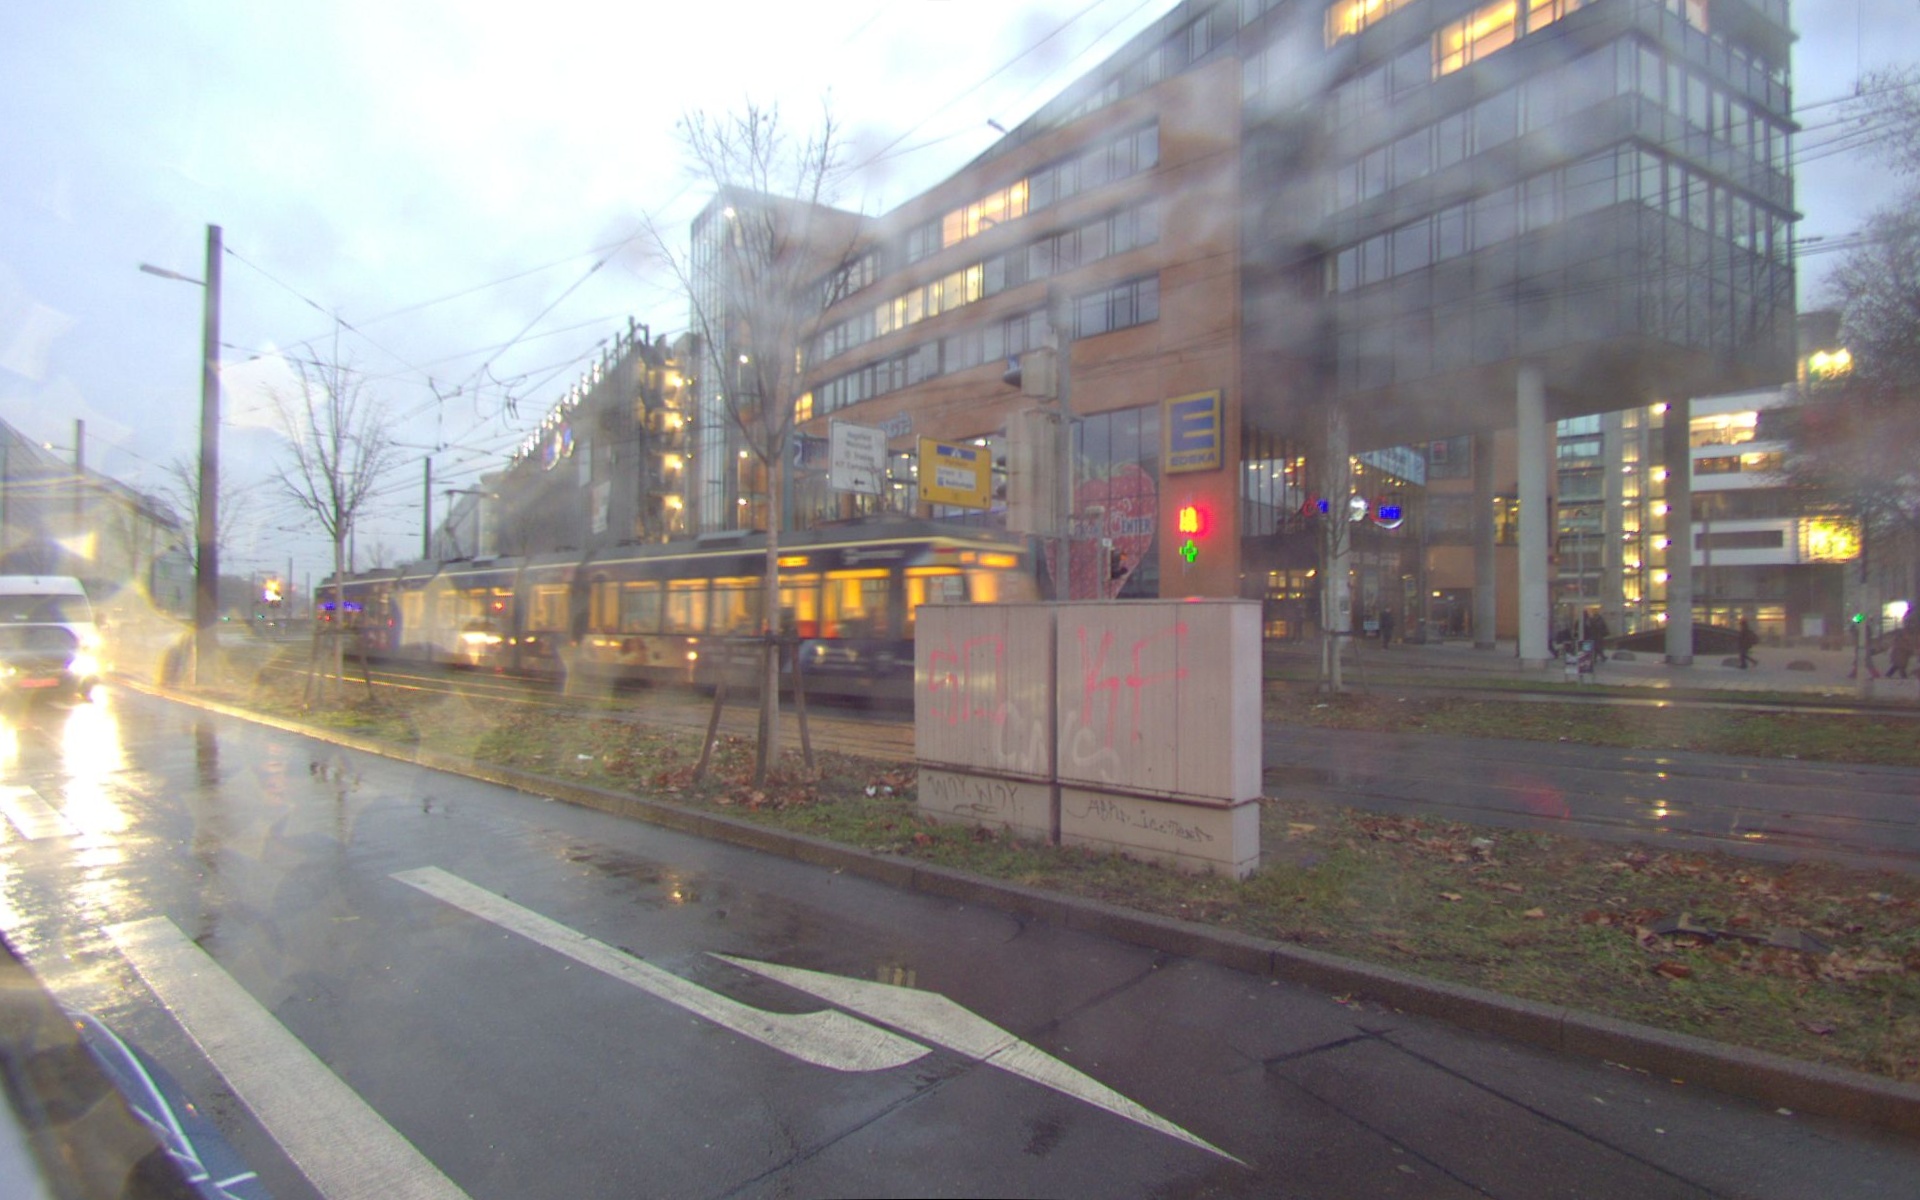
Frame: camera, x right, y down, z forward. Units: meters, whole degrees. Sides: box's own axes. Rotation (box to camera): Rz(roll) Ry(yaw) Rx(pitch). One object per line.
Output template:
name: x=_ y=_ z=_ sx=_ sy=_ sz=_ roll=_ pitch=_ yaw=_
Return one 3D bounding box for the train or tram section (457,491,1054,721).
train or tram section: x=-6.341 y=0.276 z=23.536 sx=19.210 sy=3.642 sz=2.833 roll=-1 pitch=-2 yaw=42

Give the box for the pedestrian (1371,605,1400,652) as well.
pedestrian: x=16.266 y=1.097 z=38.689 sx=0.782 sy=1.766 sz=0.704 roll=0 pitch=-2 yaw=-1

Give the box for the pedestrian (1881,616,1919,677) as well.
pedestrian: x=28.424 y=1.395 z=30.553 sx=0.859 sy=1.818 sz=0.790 roll=1 pitch=-2 yaw=-42

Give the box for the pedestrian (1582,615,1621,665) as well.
pedestrian: x=22.584 y=1.410 z=35.622 sx=0.994 sy=1.725 sz=0.787 roll=1 pitch=-2 yaw=-34

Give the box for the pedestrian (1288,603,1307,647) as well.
pedestrian: x=13.449 y=0.994 z=40.328 sx=0.658 sy=1.766 sz=0.534 roll=0 pitch=-2 yaw=12

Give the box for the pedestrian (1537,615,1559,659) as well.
pedestrian: x=21.946 y=1.372 z=37.770 sx=0.674 sy=1.620 sz=0.449 roll=-1 pitch=-2 yaw=33

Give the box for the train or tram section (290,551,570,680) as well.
train or tram section: x=-19.967 y=0.631 z=36.534 sx=20.077 sy=3.642 sz=2.832 roll=-1 pitch=-2 yaw=44

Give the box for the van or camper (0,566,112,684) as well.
van or camper: x=-22.643 y=0.605 z=24.604 sx=5.894 sy=2.551 sz=2.126 roll=-1 pitch=-2 yaw=40

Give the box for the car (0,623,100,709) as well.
car: x=-17.714 y=1.183 z=19.170 sx=4.057 sy=1.355 sz=1.735 roll=1 pitch=0 yaw=44

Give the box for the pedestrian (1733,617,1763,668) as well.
pedestrian: x=27.036 y=1.457 z=34.738 sx=0.784 sy=1.725 sz=0.647 roll=-1 pitch=-2 yaw=39

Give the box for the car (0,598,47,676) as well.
car: x=-37.690 y=1.434 z=39.603 sx=5.809 sy=2.885 sz=2.102 roll=-1 pitch=-2 yaw=40

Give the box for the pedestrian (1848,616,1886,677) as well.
pedestrian: x=27.072 y=1.365 z=30.213 sx=0.821 sy=1.787 sz=0.564 roll=-1 pitch=-2 yaw=42
